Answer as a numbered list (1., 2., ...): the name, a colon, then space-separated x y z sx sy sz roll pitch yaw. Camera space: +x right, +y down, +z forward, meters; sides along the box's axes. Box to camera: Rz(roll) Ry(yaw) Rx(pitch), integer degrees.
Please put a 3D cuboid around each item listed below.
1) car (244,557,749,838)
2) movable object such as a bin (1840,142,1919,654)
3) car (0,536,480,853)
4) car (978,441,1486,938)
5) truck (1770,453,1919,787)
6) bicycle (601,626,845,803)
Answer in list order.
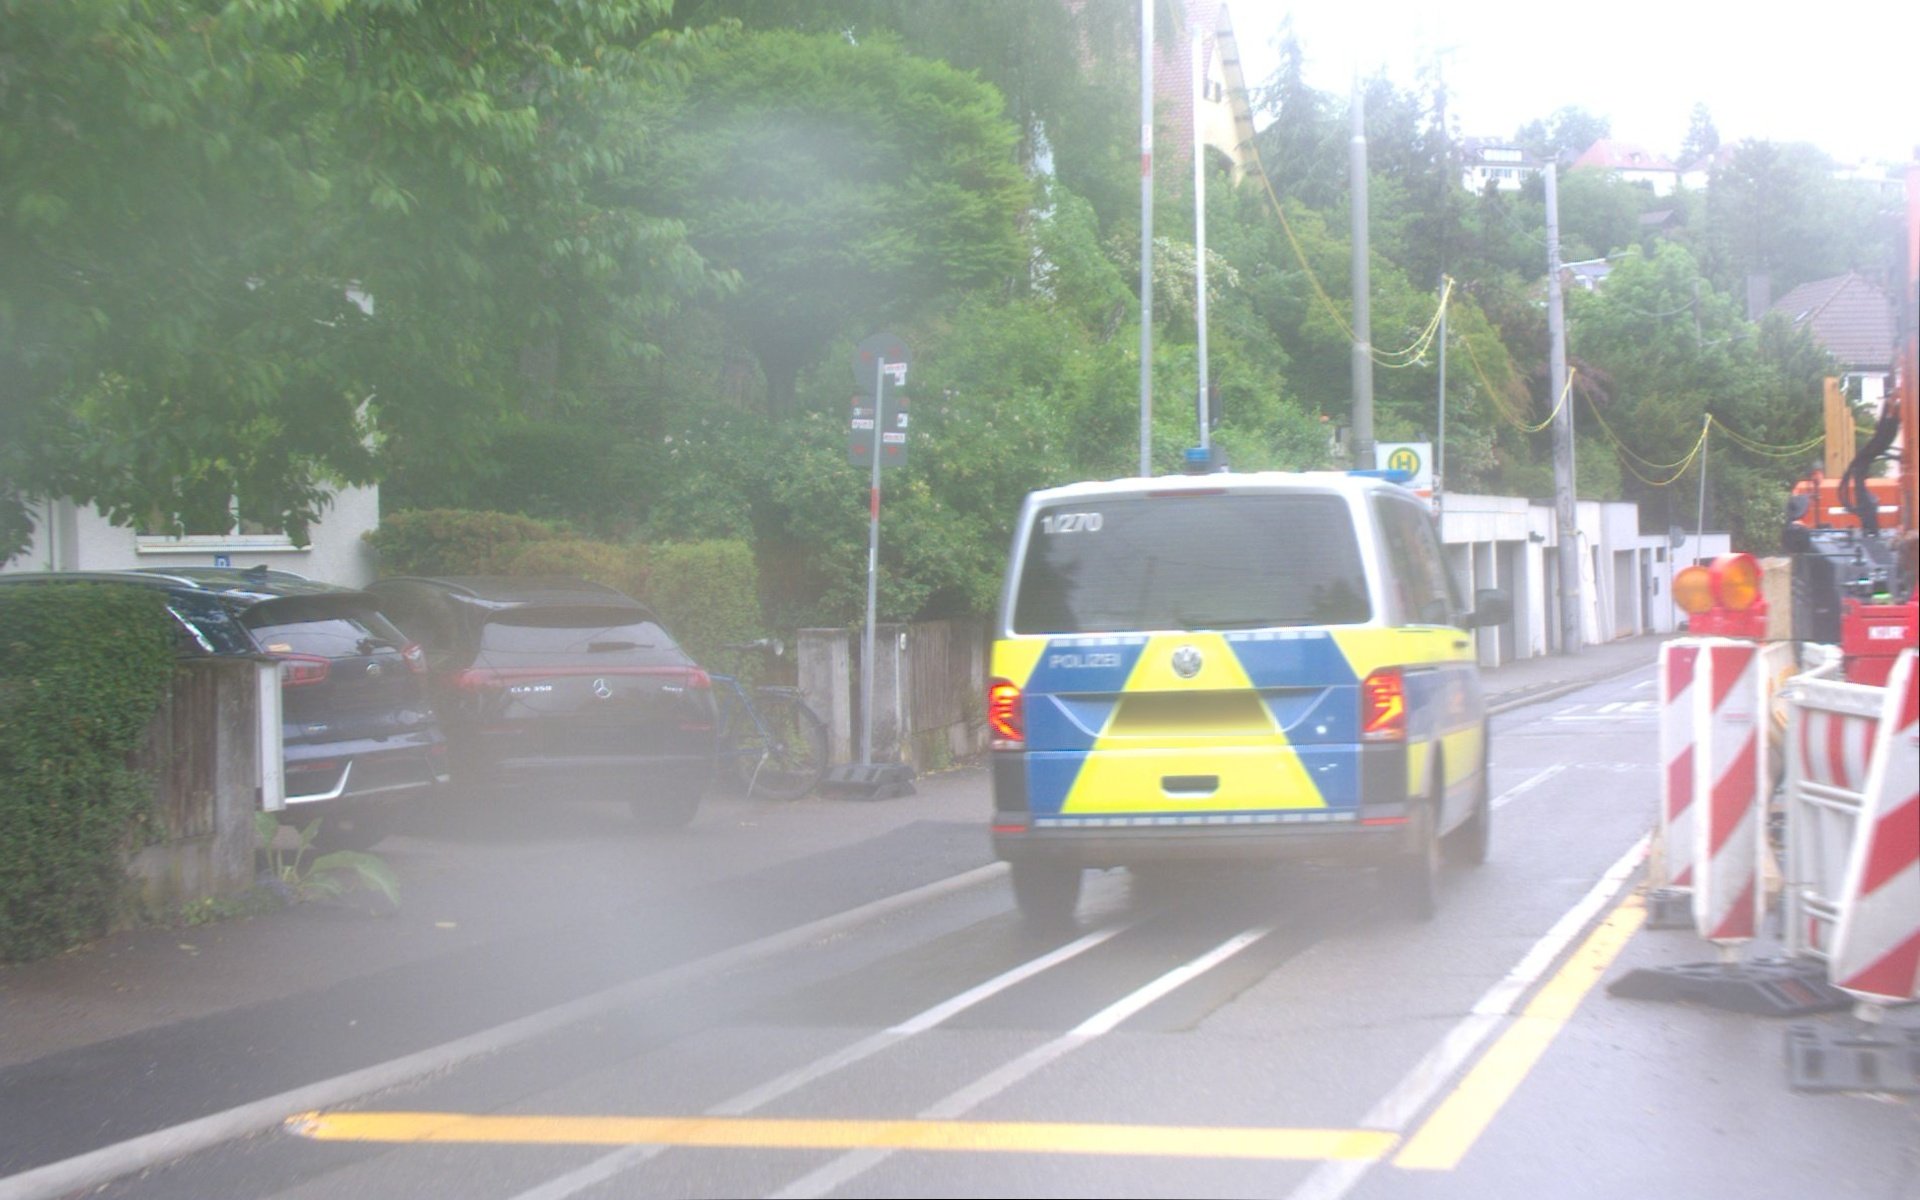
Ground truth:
1. car: -2.901 0.523 20.785 1.780 1.520 4.000 0 0 -27
2. movable object such as a bin: 12.723 -2.075 35.870 3.691 5.049 7.144 -3 -1 43
3. car: -4.764 0.458 18.186 3.992 1.520 1.938 0 0 25
4. car: 1.432 0.373 16.220 1.909 2.004 4.437 0 0 11
5. truck: 6.884 0.113 23.305 2.552 2.101 3.301 -2 -1 15
6. bicycle: -1.569 0.738 22.636 1.621 1.127 0.442 0 -1 29
